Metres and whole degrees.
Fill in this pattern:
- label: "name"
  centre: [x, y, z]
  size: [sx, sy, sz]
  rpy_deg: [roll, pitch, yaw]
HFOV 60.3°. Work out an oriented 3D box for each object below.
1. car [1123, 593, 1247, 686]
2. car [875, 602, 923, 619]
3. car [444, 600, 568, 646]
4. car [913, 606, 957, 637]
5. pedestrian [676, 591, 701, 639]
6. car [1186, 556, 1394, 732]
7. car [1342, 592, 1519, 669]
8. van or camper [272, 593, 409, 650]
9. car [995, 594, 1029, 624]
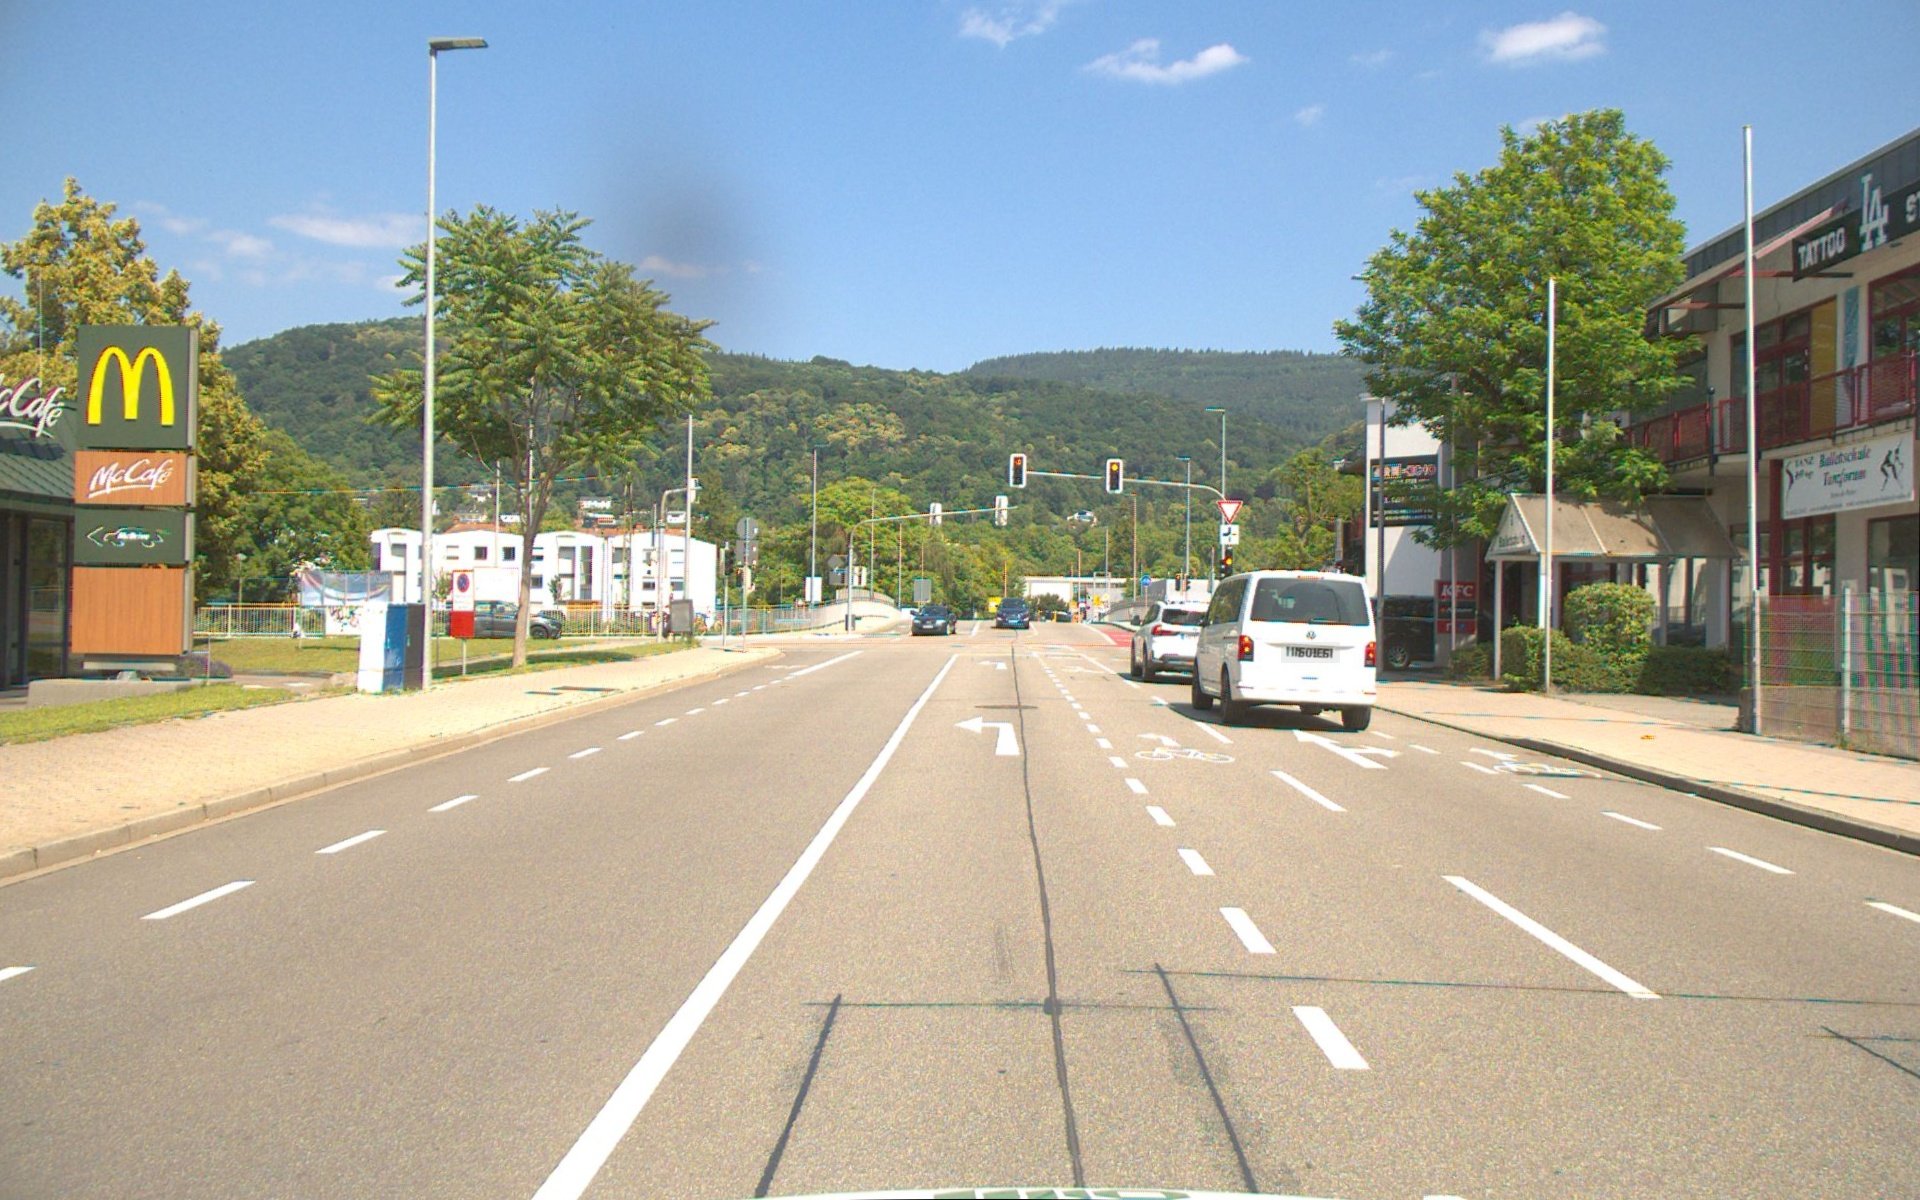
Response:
- label: "car"
  centre: [4.586, 0.758, 34.325]
  size: [1.895, 1.716, 4.544]
  rpy_deg: [3, 0, 0]
- label: "car"
  centre: [-5.848, 0.965, 158.412]
  size: [4.363, 1.616, 1.852]
  rpy_deg: [0, 0, 29]
- label: "car"
  centre: [-16.431, 0.817, 60.035]
  size: [4.241, 1.620, 1.993]
  rpy_deg: [0, 0, -13]
- label: "car"
  centre: [-1.175, 1.030, 79.915]
  size: [1.952, 1.394, 4.327]
  rpy_deg: [0, 0, 2]
- label: "pedestrian"
  centre: [-9.070, 0.506, 55.263]
  size: [0.684, 1.601, 0.676]
  rpy_deg: [1, 0, -1]
- label: "car"
  centre: [4.378, 0.527, 22.680]
  size: [1.895, 2.095, 4.544]
  rpy_deg: [2, 0, 0]
- label: "car"
  centre: [11.471, 0.714, 40.544]
  size: [3.902, 1.806, 2.002]
  rpy_deg: [0, 0, 7]
- label: "van or camper"
  centre: [-20.038, 0.690, 53.669]
  size: [3.923, 1.601, 1.991]
  rpy_deg: [3, 0, -17]
- label: "car"
  centre: [2.820, 0.470, 90.178]
  size: [1.811, 1.616, 4.001]
  rpy_deg: [0, 0, 2]
